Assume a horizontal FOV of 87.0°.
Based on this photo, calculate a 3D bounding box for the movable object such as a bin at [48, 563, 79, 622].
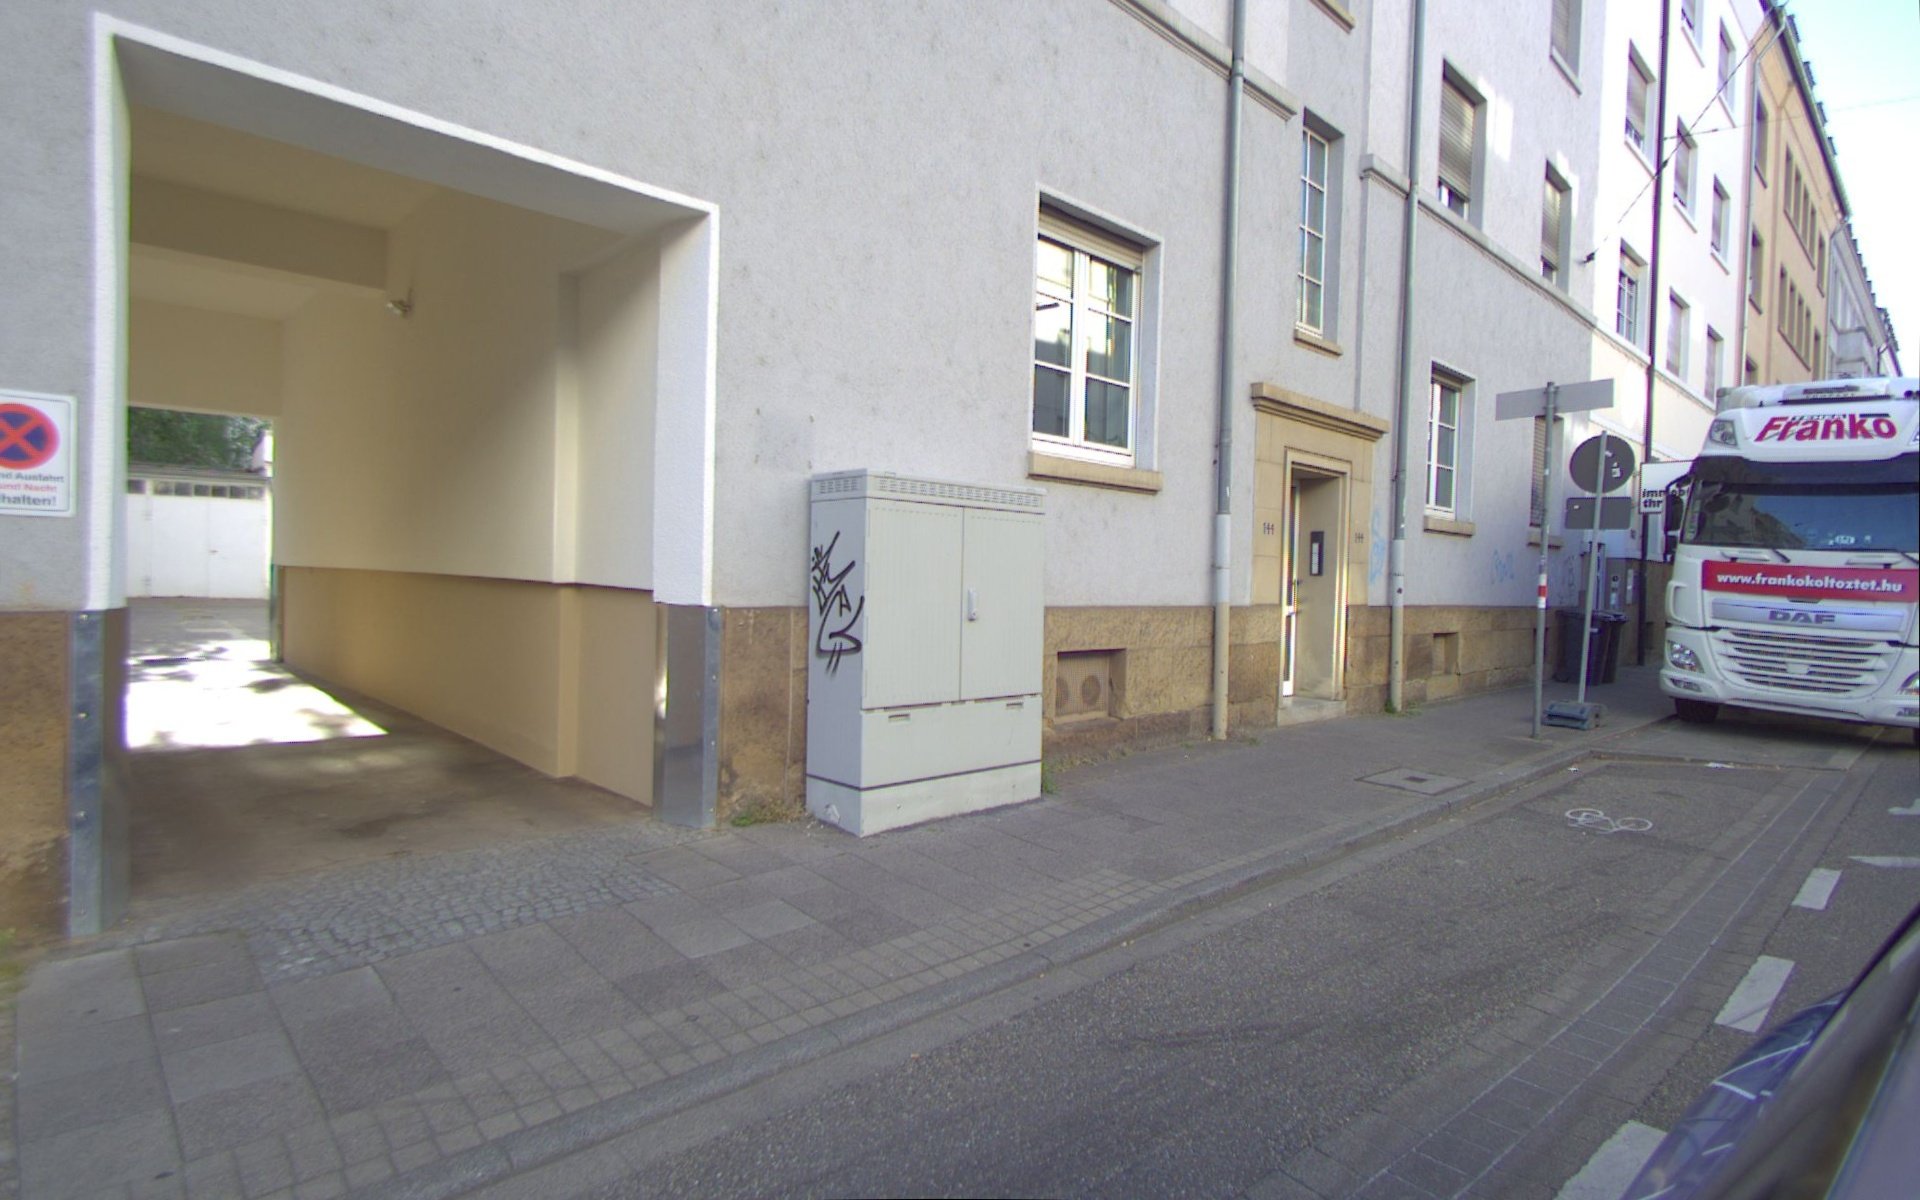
[{"bbox_3d":[-14.362,-0.127,16.209,0.366,0.919,0.420,0,3,-44],"label":"movable object such as a bin"}]

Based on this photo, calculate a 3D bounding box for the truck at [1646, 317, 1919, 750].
[{"bbox_3d":[12.564,-0.610,13.870,11.511,4.012,2.894,0,0,-44],"label":"truck"}]

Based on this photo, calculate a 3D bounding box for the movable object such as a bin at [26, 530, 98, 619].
[{"bbox_3d":[-14.876,-0.424,16.766,0.874,1.409,0.758,0,4,-44],"label":"movable object such as a bin"}]

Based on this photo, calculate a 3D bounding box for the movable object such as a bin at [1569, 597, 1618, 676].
[{"bbox_3d":[9.128,0.515,14.582,0.511,1.106,0.488,0,0,45],"label":"movable object such as a bin"}]

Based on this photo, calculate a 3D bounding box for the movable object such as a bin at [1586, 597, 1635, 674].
[{"bbox_3d":[9.588,0.511,14.915,0.511,1.106,0.488,0,0,45],"label":"movable object such as a bin"}]
